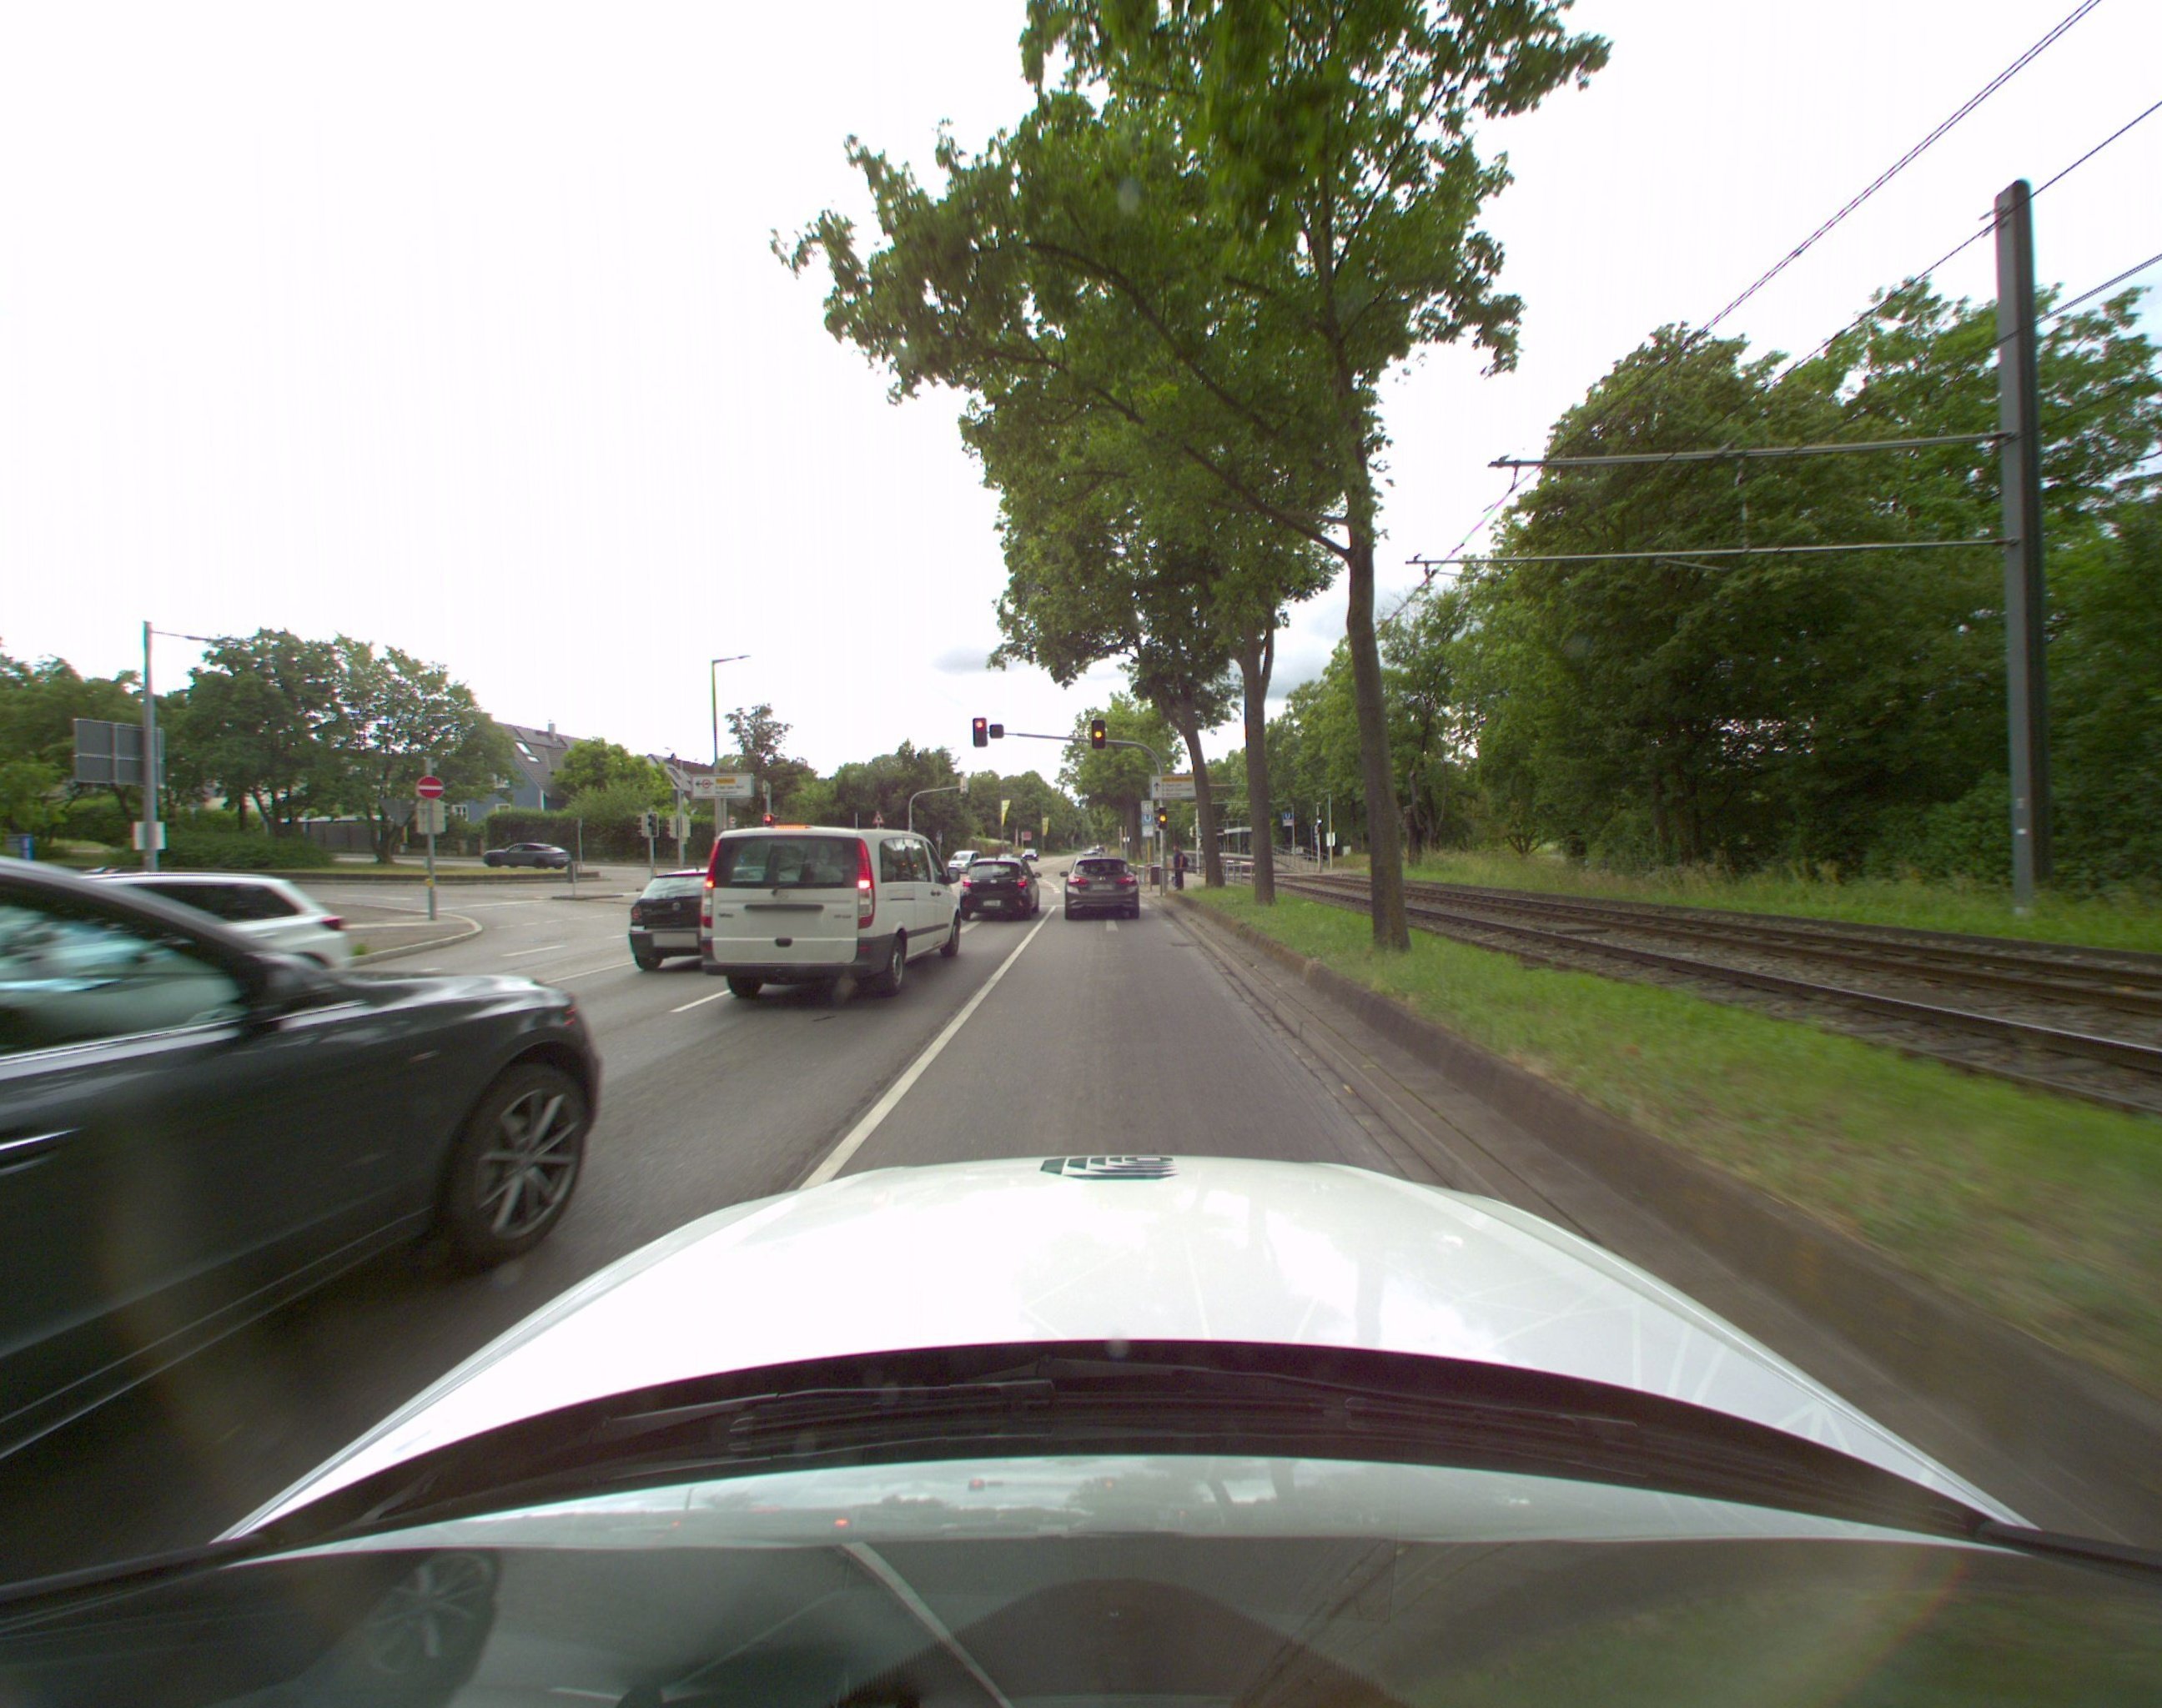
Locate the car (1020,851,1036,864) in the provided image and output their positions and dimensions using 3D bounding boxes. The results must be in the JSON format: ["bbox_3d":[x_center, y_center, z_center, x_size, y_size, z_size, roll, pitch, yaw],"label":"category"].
[{"bbox_3d":[-7.377,0.485,114.019,1.896,1.678,5.079,-1,0,0],"label":"car"}]

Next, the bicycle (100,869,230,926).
[{"bbox_3d":[-21.509,0.998,19.179,0.539,1.252,1.944,0,-1,19],"label":"bicycle"}]

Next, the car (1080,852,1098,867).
[{"bbox_3d":[0.863,0.565,83.788,1.703,1.475,3.675,0,0,4],"label":"car"}]

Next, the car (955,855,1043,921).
[{"bbox_3d":[-1.974,0.778,20.498,1.697,1.480,3.669,-1,0,2],"label":"car"}]

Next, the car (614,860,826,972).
[{"bbox_3d":[-5.531,0.860,13.023,1.550,1.466,3.809,-1,0,2],"label":"car"}]

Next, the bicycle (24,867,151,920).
[{"bbox_3d":[-25.222,0.970,20.727,0.539,1.252,1.944,0,-1,19],"label":"bicycle"}]

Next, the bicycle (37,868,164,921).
[{"bbox_3d":[-24.570,0.975,20.451,0.539,1.252,1.946,0,-1,24],"label":"bicycle"}]

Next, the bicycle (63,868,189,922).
[{"bbox_3d":[-23.502,0.983,20.088,0.539,1.252,1.947,0,-1,35],"label":"bicycle"}]

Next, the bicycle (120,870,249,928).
[{"bbox_3d":[-20.615,1.005,18.772,0.539,1.252,1.947,0,-1,39],"label":"bicycle"}]

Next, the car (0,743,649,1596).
[{"bbox_3d":[-3.059,0.654,1.797,1.744,1.718,4.336,-1,0,2],"label":"car"}]

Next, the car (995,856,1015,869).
[{"bbox_3d":[-8.208,0.917,88.745,1.736,1.464,4.342,1,0,0],"label":"car"}]

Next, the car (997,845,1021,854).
[{"bbox_3d":[-12.747,-0.795,144.434,3.966,1.497,1.862,1,-1,6],"label":"car"}]

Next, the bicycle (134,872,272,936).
[{"bbox_3d":[-18.553,1.016,17.254,0.539,1.252,1.947,0,0,39],"label":"bicycle"}]

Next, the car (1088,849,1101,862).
[{"bbox_3d":[1.723,0.170,101.496,1.496,1.528,3.675,0,0,4],"label":"car"}]

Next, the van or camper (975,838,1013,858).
[{"bbox_3d":[-17.588,-1.235,164.548,7.115,3.370,2.798,4,0,1],"label":"van or camper"}]

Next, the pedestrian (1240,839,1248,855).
[{"bbox_3d":[16.300,-0.692,81.466,0.715,1.511,0.725,1,-1,4],"label":"pedestrian"}]

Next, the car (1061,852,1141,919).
[{"bbox_3d":[0.582,0.710,20.528,1.829,1.528,3.933,0,0,4],"label":"car"}]

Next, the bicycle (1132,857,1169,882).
[{"bbox_3d":[3.351,0.731,39.286,1.670,1.090,0.601,-4,0,-2],"label":"bicycle"}]

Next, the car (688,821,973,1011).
[{"bbox_3d":[-2.817,0.607,10.641,1.900,1.843,5.284,-1,0,2],"label":"car"}]

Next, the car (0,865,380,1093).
[{"bbox_3d":[-8.366,0.909,6.708,1.733,1.538,3.910,-1,0,1],"label":"car"}]

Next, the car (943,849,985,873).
[{"bbox_3d":[-9.346,0.561,65.390,1.930,1.874,4.556,0,0,12],"label":"car"}]

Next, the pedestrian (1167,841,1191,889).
[{"bbox_3d":[3.662,0.403,30.483,0.748,1.737,0.841,-4,-1,6],"label":"pedestrian"}]

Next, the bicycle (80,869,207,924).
[{"bbox_3d":[-22.645,0.990,19.712,0.539,1.252,1.947,0,-1,35],"label":"bicycle"}]

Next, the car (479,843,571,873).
[{"bbox_3d":[-34.822,0.262,51.113,4.413,1.811,1.950,0,0,1],"label":"car"}]
